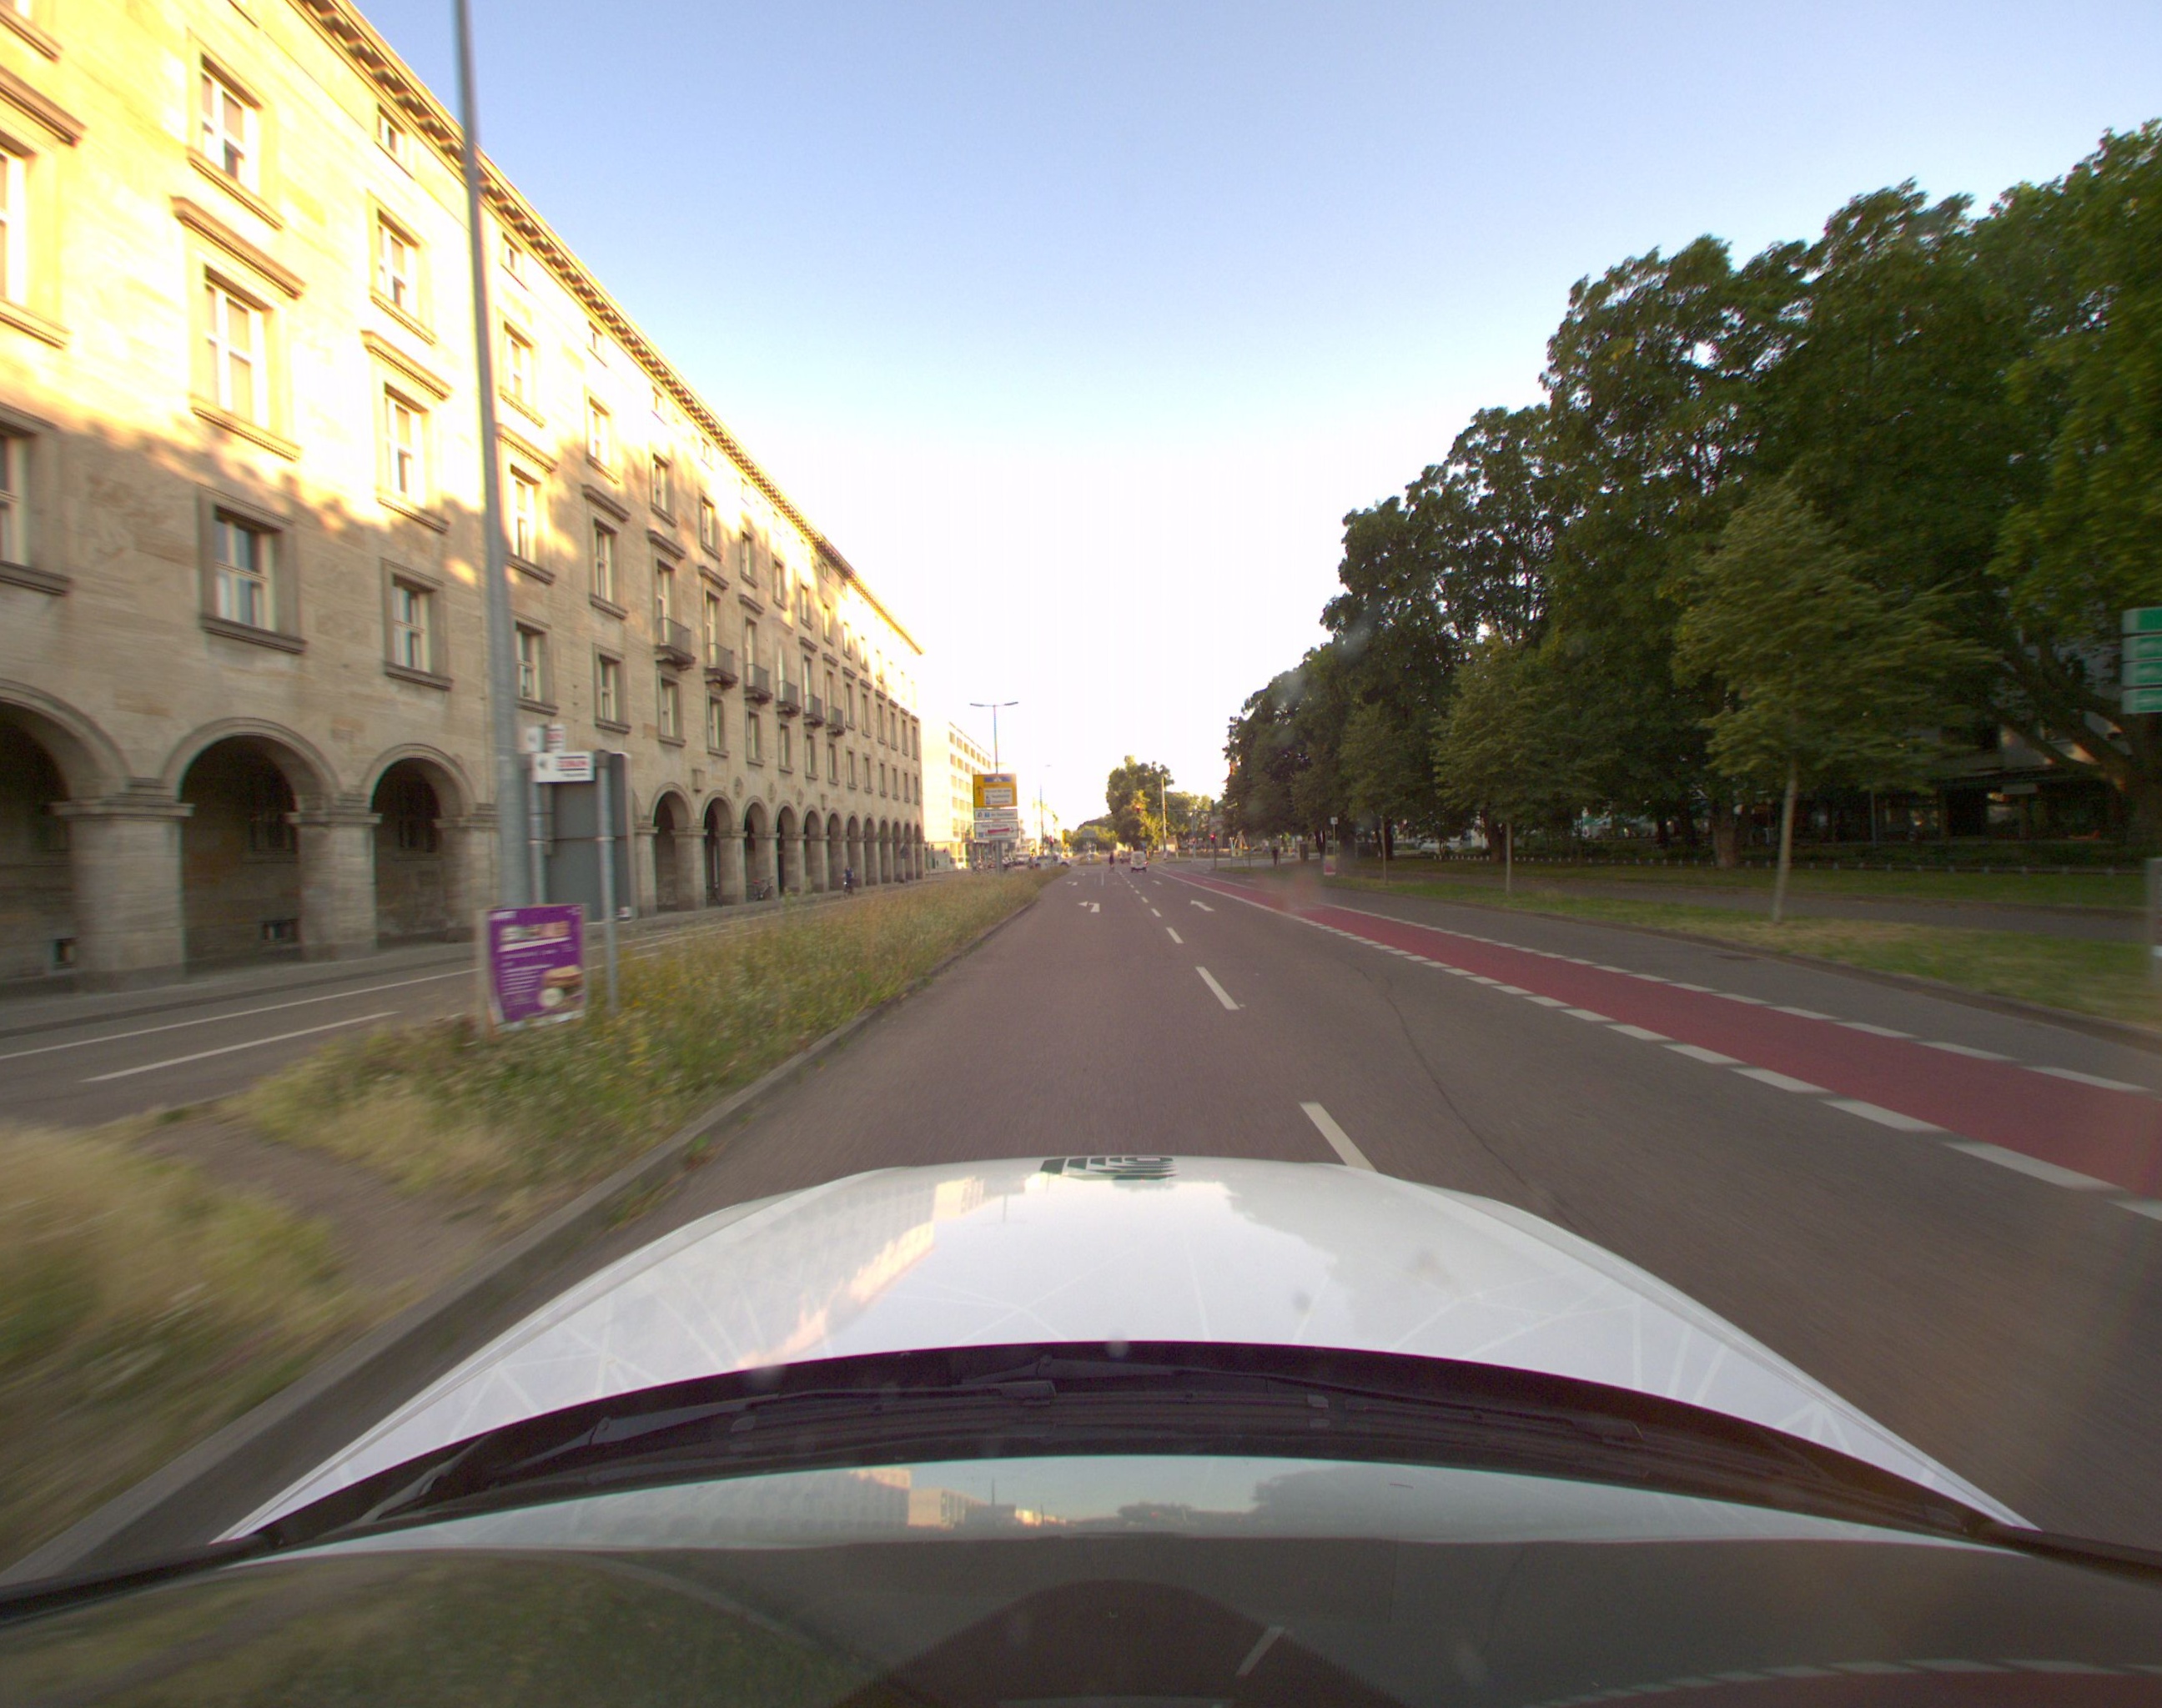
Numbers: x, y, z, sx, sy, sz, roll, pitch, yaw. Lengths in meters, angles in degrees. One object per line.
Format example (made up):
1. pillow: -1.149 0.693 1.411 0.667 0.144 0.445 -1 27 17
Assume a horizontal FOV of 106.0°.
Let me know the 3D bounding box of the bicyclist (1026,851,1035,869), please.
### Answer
1. bicyclist: -4.973 0.615 80.748 0.743 1.693 0.716 -3 0 4

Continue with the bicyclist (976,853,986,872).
1. bicyclist: -9.144 0.792 74.426 0.745 1.693 0.714 -3 0 -6

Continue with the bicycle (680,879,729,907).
1. bicycle: -15.294 1.586 33.115 0.473 1.005 2.015 -3 0 20

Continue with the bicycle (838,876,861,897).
1. bicycle: -12.020 1.660 42.286 0.539 1.005 2.005 -2 0 1

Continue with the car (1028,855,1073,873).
1. car: -3.173 1.003 84.648 4.529 1.648 1.995 -3 0 -7

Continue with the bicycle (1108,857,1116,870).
1. bicycle: 2.639 0.790 70.297 0.635 1.069 2.070 -1 0 1

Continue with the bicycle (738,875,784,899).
1. bicycle: -14.973 1.534 38.151 0.472 1.005 2.018 -3 0 37

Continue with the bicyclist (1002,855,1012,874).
1. bicyclist: -6.879 0.950 76.033 0.743 1.693 0.765 -3 0 0

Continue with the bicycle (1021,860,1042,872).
1. bicycle: -4.915 1.175 80.727 1.888 1.069 0.731 -2 0 4

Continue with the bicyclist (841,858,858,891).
1. bicyclist: -12.039 1.063 42.375 0.534 1.693 0.749 -3 0 2

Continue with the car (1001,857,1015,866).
1. car: -13.097 1.417 146.264 1.788 1.475 4.005 -3 -2 5

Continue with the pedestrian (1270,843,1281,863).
1. pedestrian: 16.706 -0.076 70.051 0.693 1.693 0.748 -3 0 0

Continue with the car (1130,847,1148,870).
1. car: 4.936 0.365 69.692 1.453 1.780 2.567 -2 1 4

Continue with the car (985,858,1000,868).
1. car: -13.987 1.405 129.287 1.790 1.475 3.999 -3 -2 1

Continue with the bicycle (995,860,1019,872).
1. bicycle: -6.894 1.103 76.050 2.050 1.069 0.787 -3 0 1

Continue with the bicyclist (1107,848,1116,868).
1. bicyclist: 2.605 0.369 69.983 0.626 1.693 0.748 -3 0 0

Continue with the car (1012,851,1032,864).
1. car: -11.586 0.695 159.248 2.162 2.385 6.009 -3 -2 13

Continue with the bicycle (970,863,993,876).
1. bicycle: -9.054 1.432 74.427 2.012 1.069 0.729 -3 0 -6

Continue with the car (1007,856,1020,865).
1. car: -12.618 1.251 152.662 1.788 1.475 4.004 -3 -2 5
